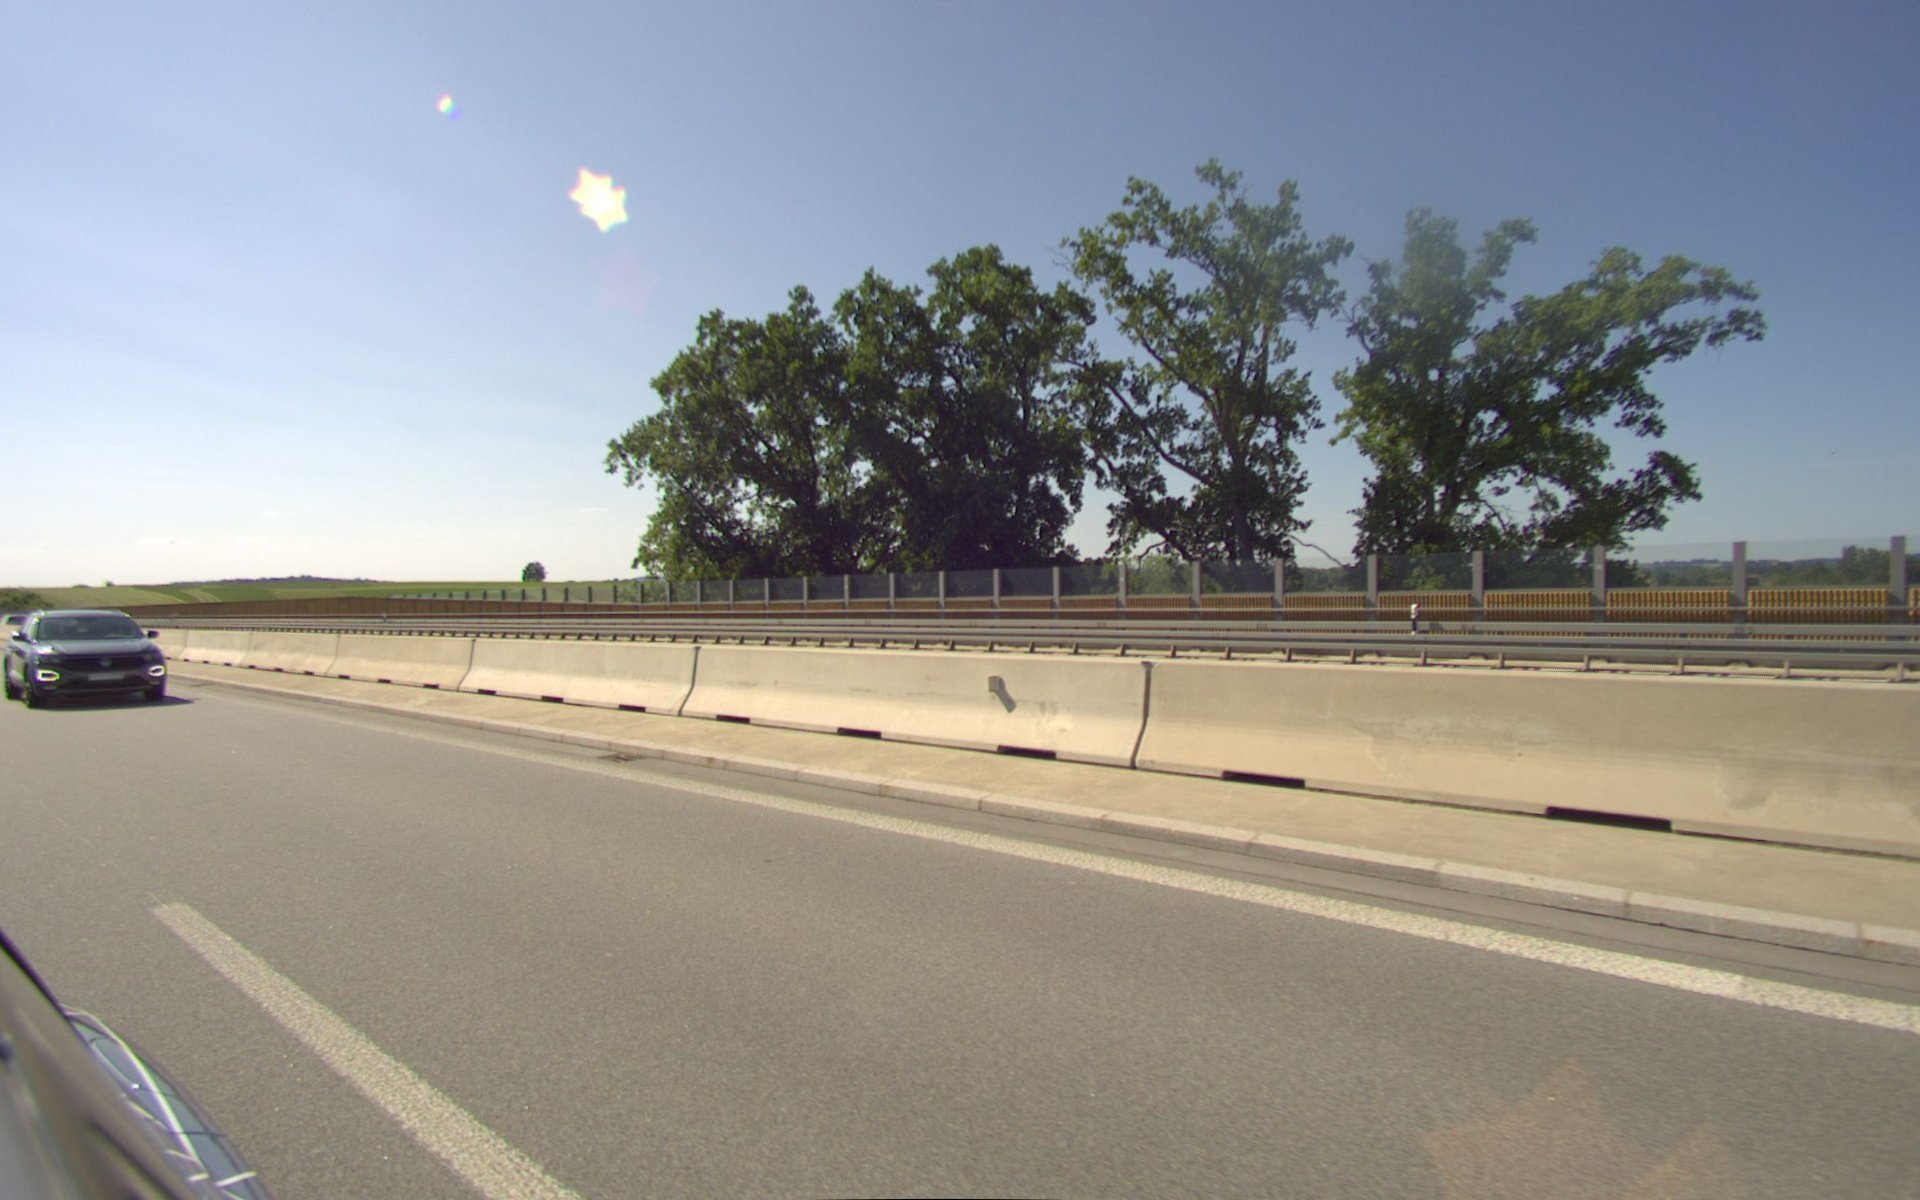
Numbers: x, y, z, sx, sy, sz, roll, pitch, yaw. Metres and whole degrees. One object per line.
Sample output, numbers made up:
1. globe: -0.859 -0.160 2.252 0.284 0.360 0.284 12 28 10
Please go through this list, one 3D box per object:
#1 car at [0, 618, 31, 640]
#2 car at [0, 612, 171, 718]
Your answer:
1. car: -70.871 2.147 75.587 4.622 1.514 1.709 -1 -1 41
2. car: -15.466 1.033 17.708 4.986 1.581 1.753 -1 -1 42
